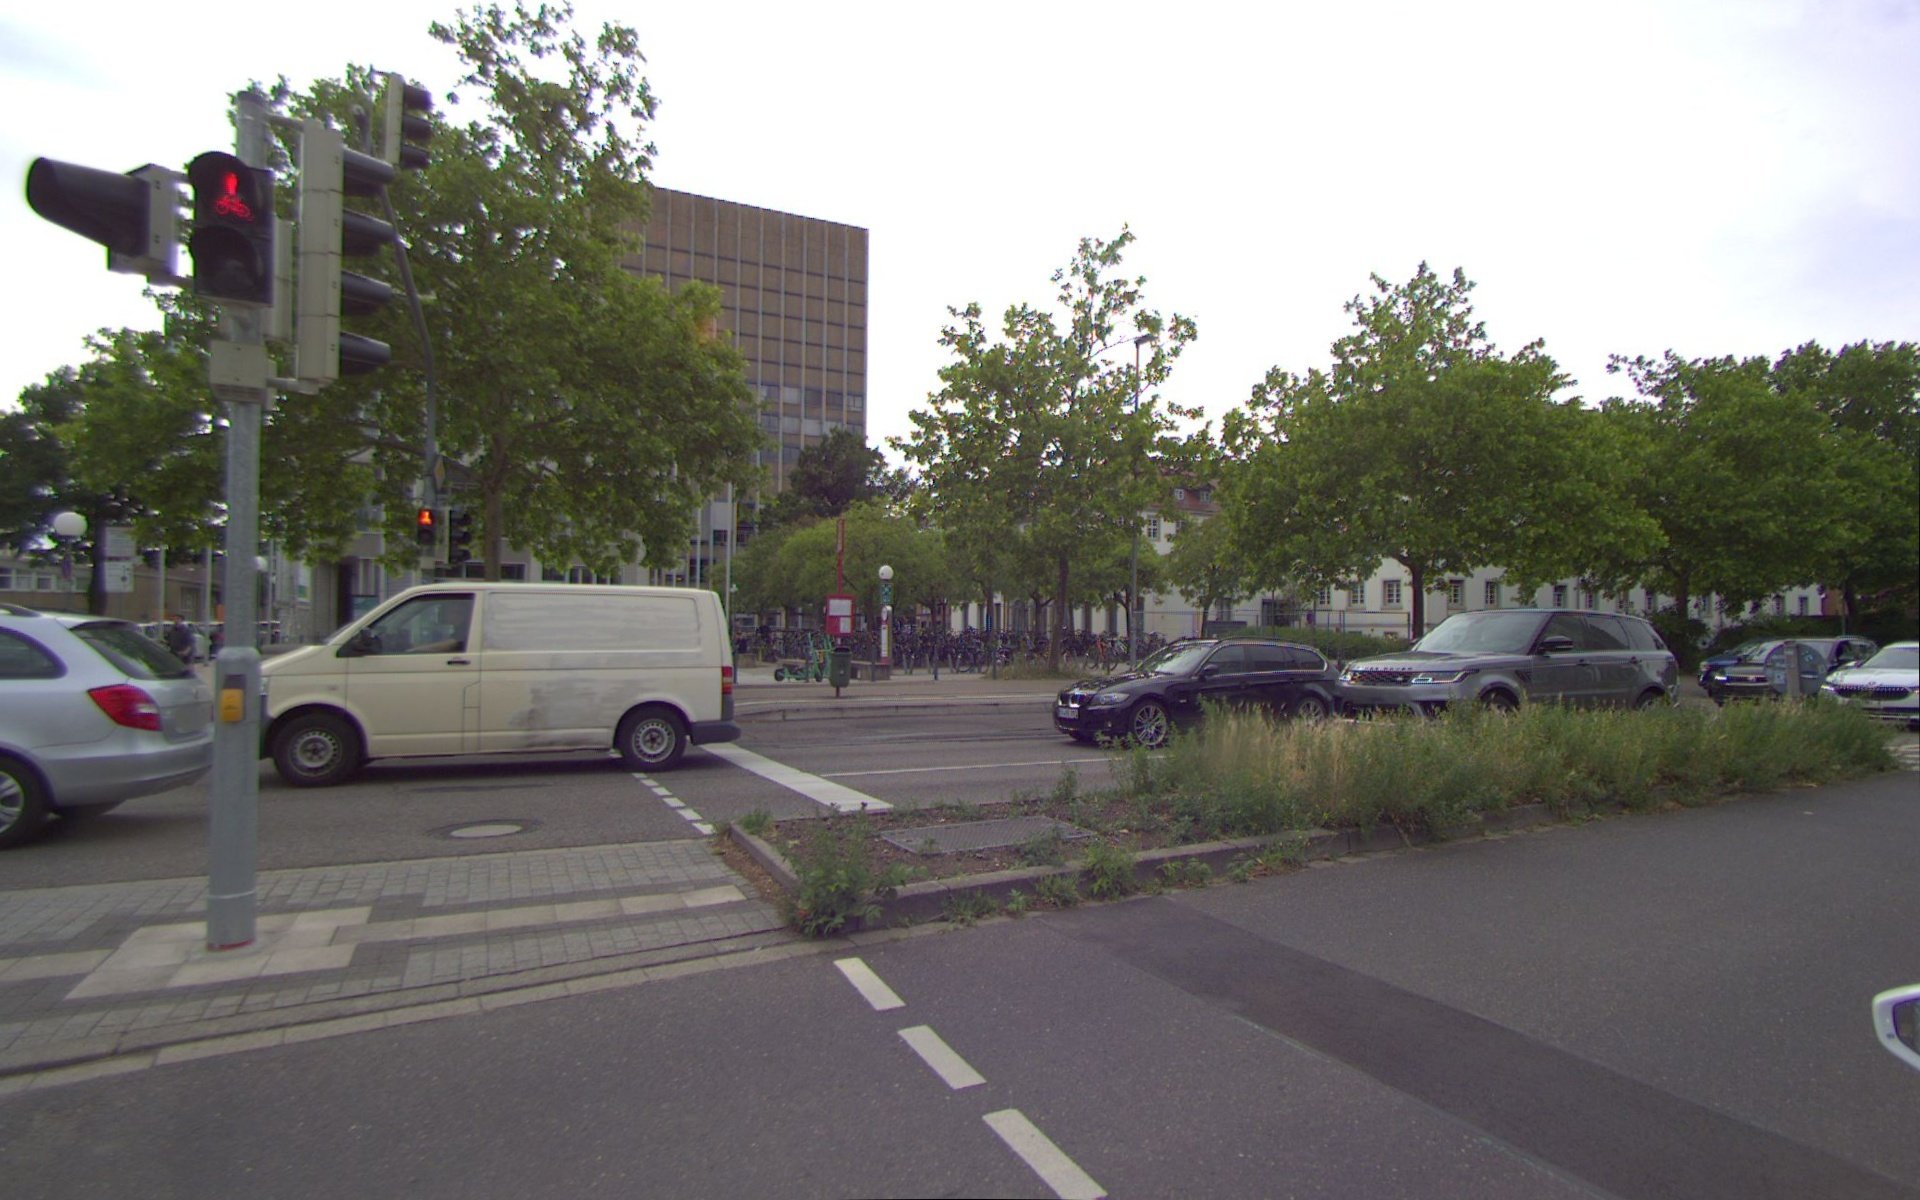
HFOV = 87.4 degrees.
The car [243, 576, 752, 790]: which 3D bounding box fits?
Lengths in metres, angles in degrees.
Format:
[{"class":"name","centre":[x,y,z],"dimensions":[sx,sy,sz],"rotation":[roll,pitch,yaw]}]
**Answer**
[{"class":"car","centre":[-4.574,0.780,10.502],"dimensions":[4.425,1.872,1.767],"rotation":[2,0,-23]}]

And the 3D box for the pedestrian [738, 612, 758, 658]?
[{"class":"pedestrian","centre":[-9.576,1.565,45.317],"dimensions":[0.783,2.040,0.894],"rotation":[1,-2,-18]}]

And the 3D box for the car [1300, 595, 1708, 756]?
[{"class":"car","centre":[6.851,0.853,12.609],"dimensions":[4.880,1.709,1.988],"rotation":[1,0,-25]}]

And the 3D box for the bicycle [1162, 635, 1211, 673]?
[{"class":"bicycle","centre":[9.921,2.371,44.144],"dimensions":[0.713,1.615,2.389],"rotation":[2,-2,-29]}]

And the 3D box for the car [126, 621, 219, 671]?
[{"class":"car","centre":[-28.404,1.632,36.367],"dimensions":[1.830,1.706,3.973],"rotation":[2,-2,-27]}]

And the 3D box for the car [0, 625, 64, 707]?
[{"class":"car","centre":[-20.835,1.345,21.188],"dimensions":[1.976,1.491,4.124],"rotation":[1,0,-29]}]

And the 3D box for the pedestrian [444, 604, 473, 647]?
[{"class":"pedestrian","centre":[-24.148,1.226,48.353],"dimensions":[1.031,2.040,0.785],"rotation":[2,-3,-43]}]

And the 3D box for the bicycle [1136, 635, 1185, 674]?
[{"class":"bicycle","centre":[8.574,2.332,43.040],"dimensions":[0.713,1.615,2.389],"rotation":[2,-2,-29]}]

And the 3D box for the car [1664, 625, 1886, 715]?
[{"class":"car","centre":[17.204,1.438,21.189],"dimensions":[4.409,1.716,1.987],"rotation":[2,-2,-26]}]

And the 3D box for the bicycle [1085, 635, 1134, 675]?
[{"class":"bicycle","centre":[6.218,2.267,41.855],"dimensions":[0.713,1.615,2.389],"rotation":[2,-2,-29]}]

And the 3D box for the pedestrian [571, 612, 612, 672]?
[{"class":"pedestrian","centre":[-12.603,1.435,34.361],"dimensions":[1.089,2.040,0.785],"rotation":[2,-3,-43]}]

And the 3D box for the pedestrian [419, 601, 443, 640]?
[{"class":"pedestrian","centre":[-27.922,1.081,53.015],"dimensions":[0.941,2.040,0.785],"rotation":[2,-3,-43]}]

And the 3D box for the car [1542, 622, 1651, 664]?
[{"class":"car","centre":[27.072,1.803,42.834],"dimensions":[1.631,1.623,3.572],"rotation":[1,0,-27]}]

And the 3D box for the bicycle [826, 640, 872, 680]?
[{"class":"bicycle","centre":[-4.021,2.148,36.170],"dimensions":[0.713,1.371,2.474],"rotation":[2,-2,-29]}]

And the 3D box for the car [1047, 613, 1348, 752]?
[{"class":"car","centre":[3.339,1.098,14.046],"dimensions":[3.947,1.712,1.693],"rotation":[2,-2,-26]}]

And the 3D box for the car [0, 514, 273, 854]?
[{"class":"car","centre":[-7.053,0.505,6.518],"dimensions":[3.947,2.040,1.987],"rotation":[2,-2,-26]}]

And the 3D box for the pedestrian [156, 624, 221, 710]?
[{"class":"pedestrian","centre":[-18.889,1.628,24.622],"dimensions":[1.004,2.040,0.999],"rotation":[1,-2,-26]}]

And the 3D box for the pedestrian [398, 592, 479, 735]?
[{"class":"pedestrian","centre":[-7.748,0.927,14.962],"dimensions":[0.997,2.040,0.890],"rotation":[1,-2,-28]}]

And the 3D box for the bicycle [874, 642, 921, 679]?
[{"class":"bicycle","centre":[-2.313,2.194,36.912],"dimensions":[0.713,1.286,2.524],"rotation":[2,-2,-29]}]

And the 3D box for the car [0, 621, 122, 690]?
[{"class":"car","centre":[-23.012,1.343,25.452],"dimensions":[1.976,1.491,3.969],"rotation":[1,0,-29]}]

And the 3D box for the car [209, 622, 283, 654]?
[{"class":"car","centre":[-32.253,1.737,45.508],"dimensions":[1.981,1.379,3.976],"rotation":[1,-2,-25]}]

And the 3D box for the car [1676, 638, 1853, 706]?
[{"class":"car","centre":[21.548,1.896,26.877],"dimensions":[4.530,1.629,1.854],"rotation":[2,0,-25]}]

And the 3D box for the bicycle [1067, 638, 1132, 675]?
[{"class":"bicycle","centre":[4.731,1.895,34.209],"dimensions":[0.713,1.190,2.735],"rotation":[2,-2,-29]}]

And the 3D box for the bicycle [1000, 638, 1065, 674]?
[{"class":"bicycle","centre":[2.417,1.855,33.632],"dimensions":[0.716,1.159,2.301],"rotation":[2,-3,-43]}]

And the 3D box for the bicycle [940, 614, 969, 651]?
[{"class":"bicycle","centre":[-0.260,1.470,44.679],"dimensions":[0.906,1.579,2.664],"rotation":[1,-2,-8]}]

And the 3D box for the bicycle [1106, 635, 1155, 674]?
[{"class":"bicycle","centre":[7.184,2.294,42.500],"dimensions":[0.713,1.615,2.389],"rotation":[2,-2,-29]}]

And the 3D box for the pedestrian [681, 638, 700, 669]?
[{"class":"pedestrian","centre":[-12.606,2.482,46.922],"dimensions":[0.783,1.437,0.894],"rotation":[1,-2,-18]}]

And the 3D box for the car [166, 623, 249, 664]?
[{"class":"car","centre":[-30.429,1.769,40.754],"dimensions":[1.863,1.573,3.976],"rotation":[1,-2,-25]}]

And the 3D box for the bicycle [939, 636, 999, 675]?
[{"class":"bicycle","centre":[0.272,1.736,31.655],"dimensions":[0.716,1.168,2.010],"rotation":[2,-3,-43]}]

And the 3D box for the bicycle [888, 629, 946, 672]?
[{"class":"bicycle","centre":[-1.650,1.876,37.902],"dimensions":[0.914,1.579,2.640],"rotation":[2,-2,-35]}]

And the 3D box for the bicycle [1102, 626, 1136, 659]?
[{"class":"bicycle","centre":[7.858,2.094,49.696],"dimensions":[0.906,1.579,2.664],"rotation":[1,-2,-8]}]

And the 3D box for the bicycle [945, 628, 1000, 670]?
[{"class":"bicycle","centre":[0.468,1.910,39.559],"dimensions":[0.914,1.579,2.428],"rotation":[2,-2,-35]}]

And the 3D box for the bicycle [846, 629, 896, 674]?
[{"class":"bicycle","centre":[-3.291,1.858,36.859],"dimensions":[0.772,1.579,2.645],"rotation":[2,-2,-30]}]

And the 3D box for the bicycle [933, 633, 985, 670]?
[{"class":"bicycle","centre":[-0.056,1.940,38.361],"dimensions":[0.713,1.347,2.806],"rotation":[2,-2,-29]}]

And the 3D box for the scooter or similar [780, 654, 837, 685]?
[{"class":"scooter or similar","centre":[-3.552,1.621,23.547],"dimensions":[1.271,0.703,0.406],"rotation":[2,0,-23]}]

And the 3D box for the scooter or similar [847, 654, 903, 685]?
[{"class":"scooter or similar","centre":[-2.021,1.662,23.936],"dimensions":[1.271,0.703,0.406],"rotation":[2,0,-23]}]

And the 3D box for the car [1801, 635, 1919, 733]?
[{"class":"car","centre":[17.067,1.409,17.500],"dimensions":[4.846,1.485,1.897],"rotation":[2,0,-26]}]

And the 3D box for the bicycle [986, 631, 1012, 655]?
[{"class":"bicycle","centre":[2.082,2.274,53.402],"dimensions":[0.906,1.221,2.664],"rotation":[1,-2,-8]}]

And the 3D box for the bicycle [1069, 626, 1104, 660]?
[{"class":"bicycle","centre":[6.128,2.064,48.894],"dimensions":[0.906,1.579,3.085],"rotation":[1,-2,-8]}]

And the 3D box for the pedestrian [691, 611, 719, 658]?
[{"class":"pedestrian","centre":[-11.213,1.507,44.253],"dimensions":[0.969,2.040,0.796],"rotation":[1,-2,3]}]
